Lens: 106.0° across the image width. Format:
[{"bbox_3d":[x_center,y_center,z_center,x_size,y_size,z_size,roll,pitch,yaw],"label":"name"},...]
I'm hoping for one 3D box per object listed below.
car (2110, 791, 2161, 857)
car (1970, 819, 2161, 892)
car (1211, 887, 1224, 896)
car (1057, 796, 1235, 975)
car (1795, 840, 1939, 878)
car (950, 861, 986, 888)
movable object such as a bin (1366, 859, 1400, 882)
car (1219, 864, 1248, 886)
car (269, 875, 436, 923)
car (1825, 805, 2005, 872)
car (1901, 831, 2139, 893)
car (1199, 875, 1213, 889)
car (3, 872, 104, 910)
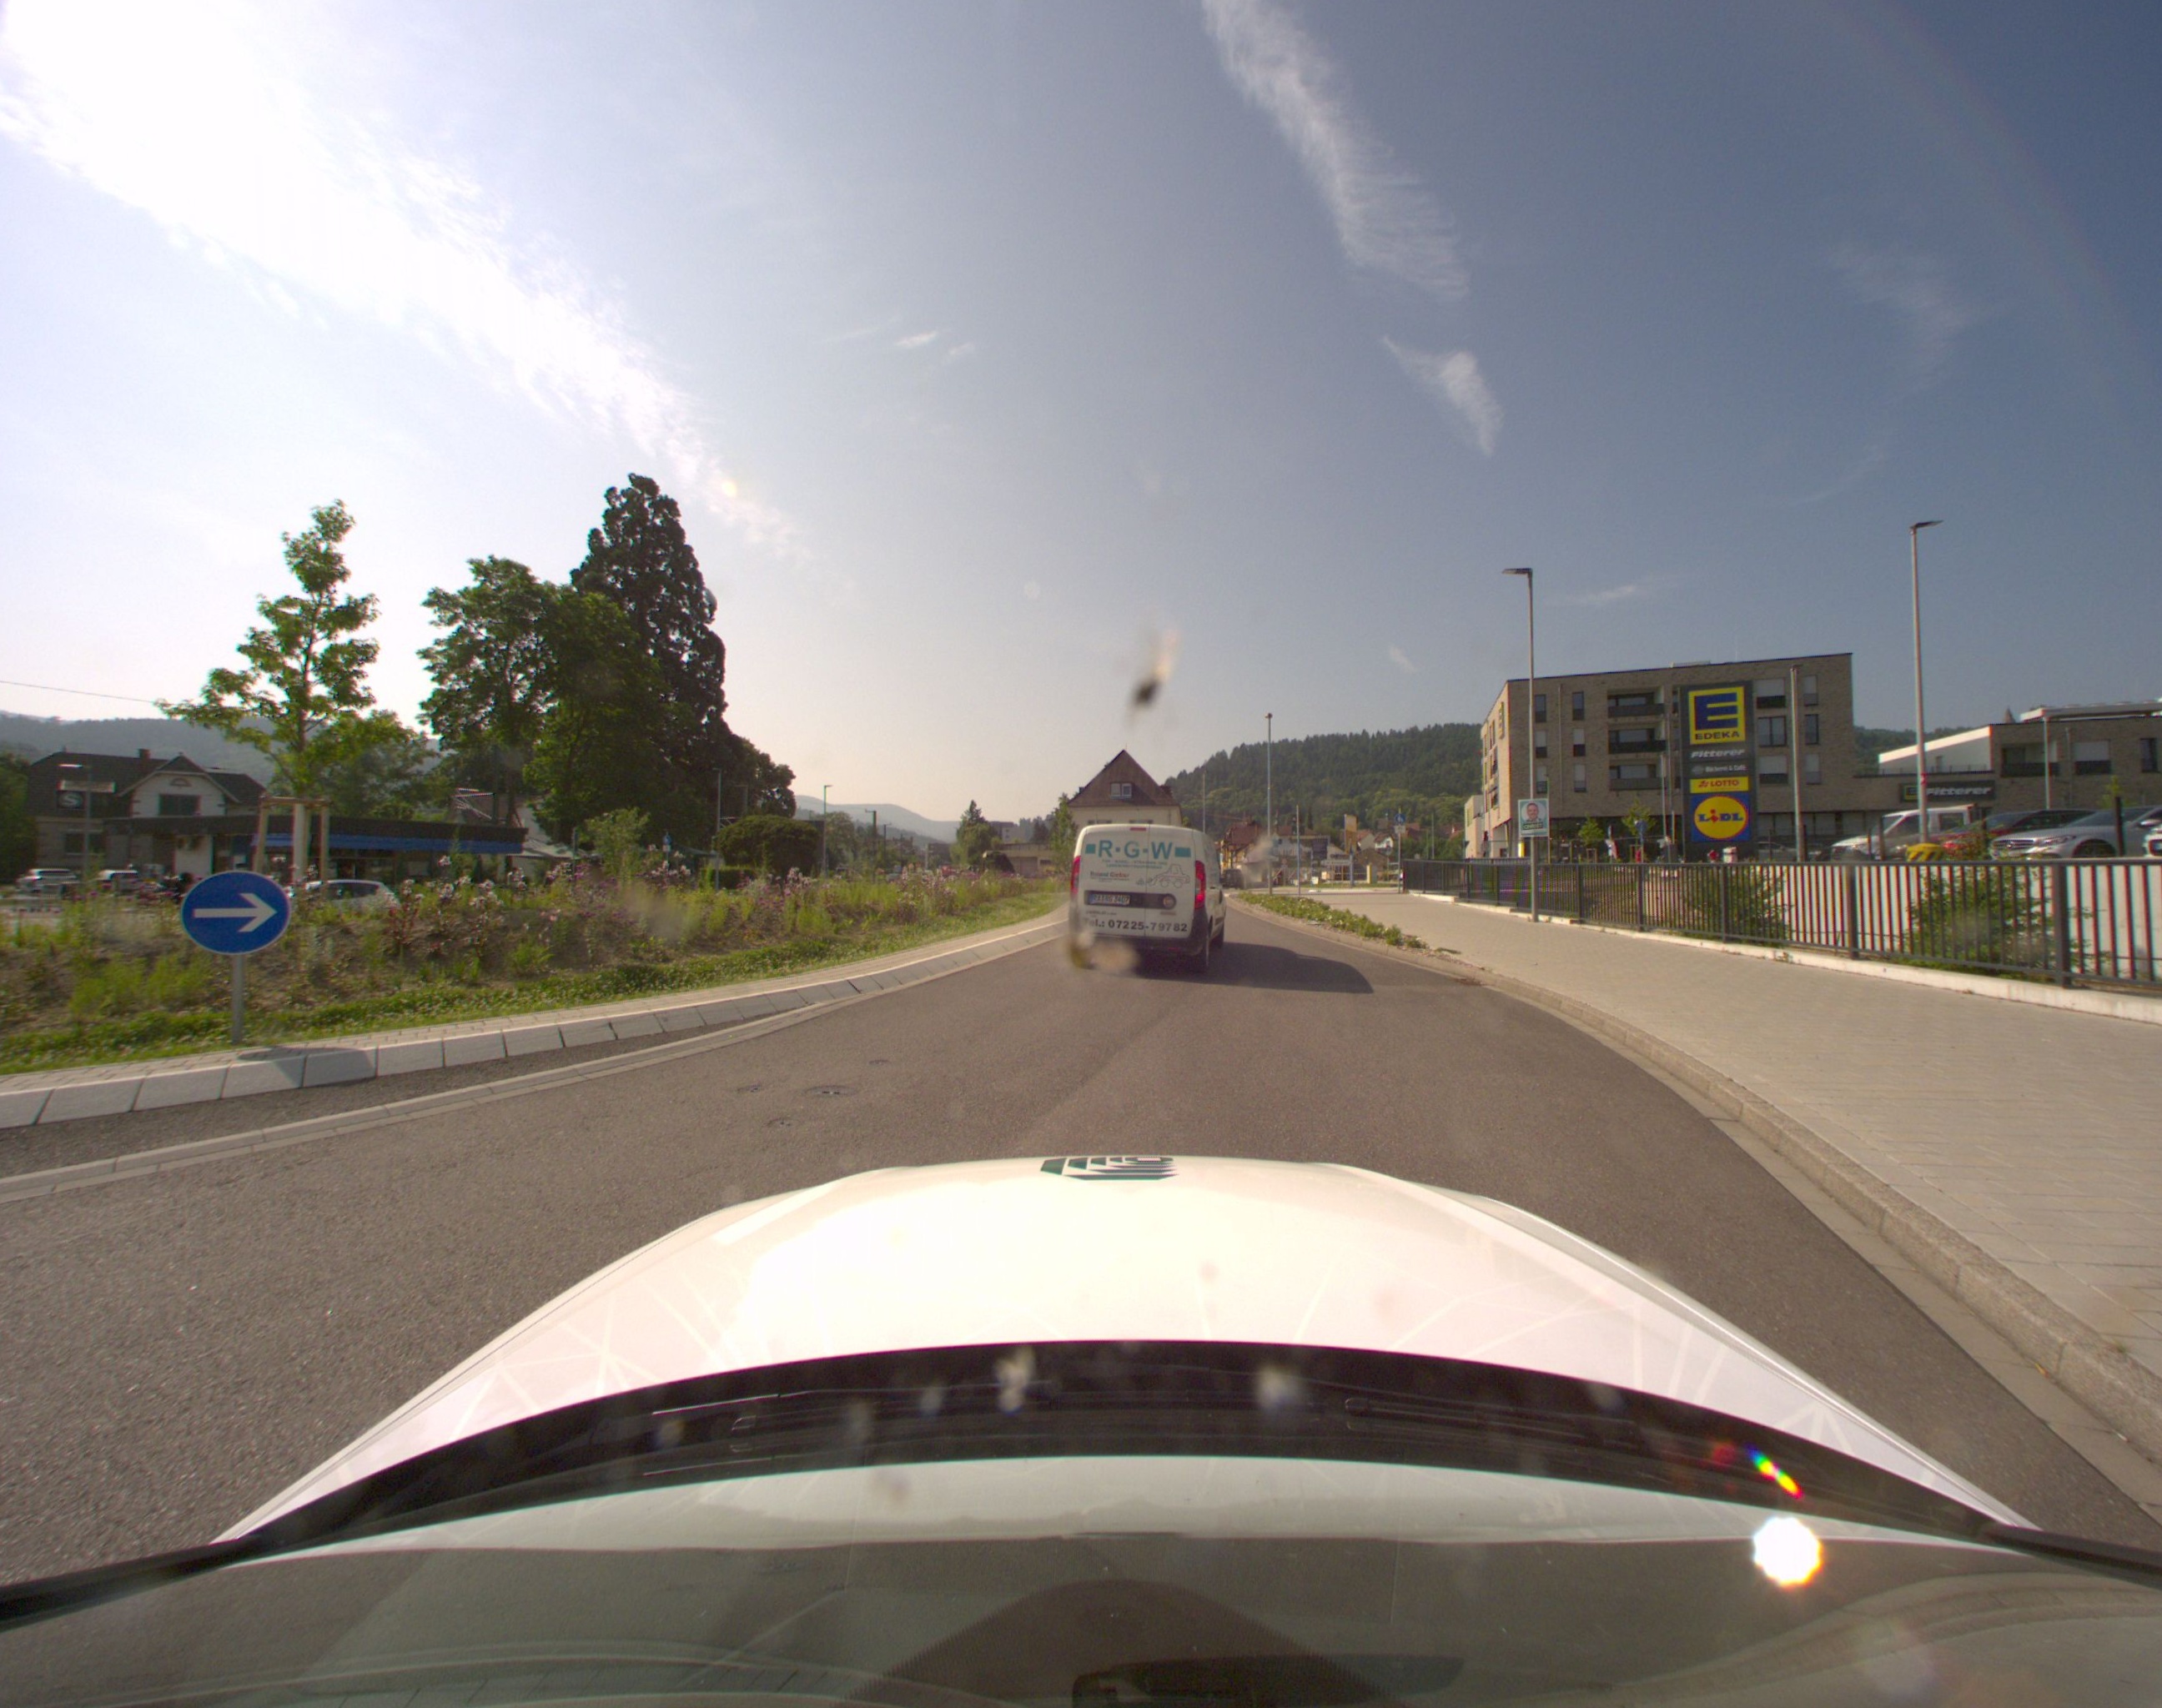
[{"bbox_3d":[21.505,-0.552,14.638,3.536,1.199,1.718,0,-1,8],"label":"car"},{"bbox_3d":[22.070,0.046,17.331,4.031,1.487,1.721,0,-1,10],"label":"car"},{"bbox_3d":[14.475,3.969,86.374,1.298,1.003,3.098,-1,-2,9],"label":"car"},{"bbox_3d":[1.180,0.378,12.026,1.793,2.078,4.621,2,0,14],"label":"car"},{"bbox_3d":[32.257,0.264,33.592,3.949,1.448,1.688,-2,-3,30],"label":"car"},{"bbox_3d":[-8.672,1.559,62.780,1.801,2.014,4.006,-1,-1,5],"label":"car"},{"bbox_3d":[24.381,1.361,65.746,2.424,1.844,1.434,-1,-2,16],"label":"movable object such as a bin"},{"bbox_3d":[11.877,1.648,63.331,1.867,1.684,4.015,-1,-2,15],"label":"car"},{"bbox_3d":[-19.652,1.183,22.152,1.381,1.172,3.249,0,-1,7],"label":"car"},{"bbox_3d":[29.070,-0.482,28.587,3.949,2.136,2.012,-2,-3,29],"label":"car"},{"bbox_3d":[22.623,0.200,19.764,3.536,1.430,1.714,0,-1,8],"label":"car"},{"bbox_3d":[18.858,4.277,122.993,1.981,2.014,4.010,-1,-2,9],"label":"car"},{"bbox_3d":[-38.313,1.360,30.368,3.552,1.326,1.424,0,-2,23],"label":"car"}]
